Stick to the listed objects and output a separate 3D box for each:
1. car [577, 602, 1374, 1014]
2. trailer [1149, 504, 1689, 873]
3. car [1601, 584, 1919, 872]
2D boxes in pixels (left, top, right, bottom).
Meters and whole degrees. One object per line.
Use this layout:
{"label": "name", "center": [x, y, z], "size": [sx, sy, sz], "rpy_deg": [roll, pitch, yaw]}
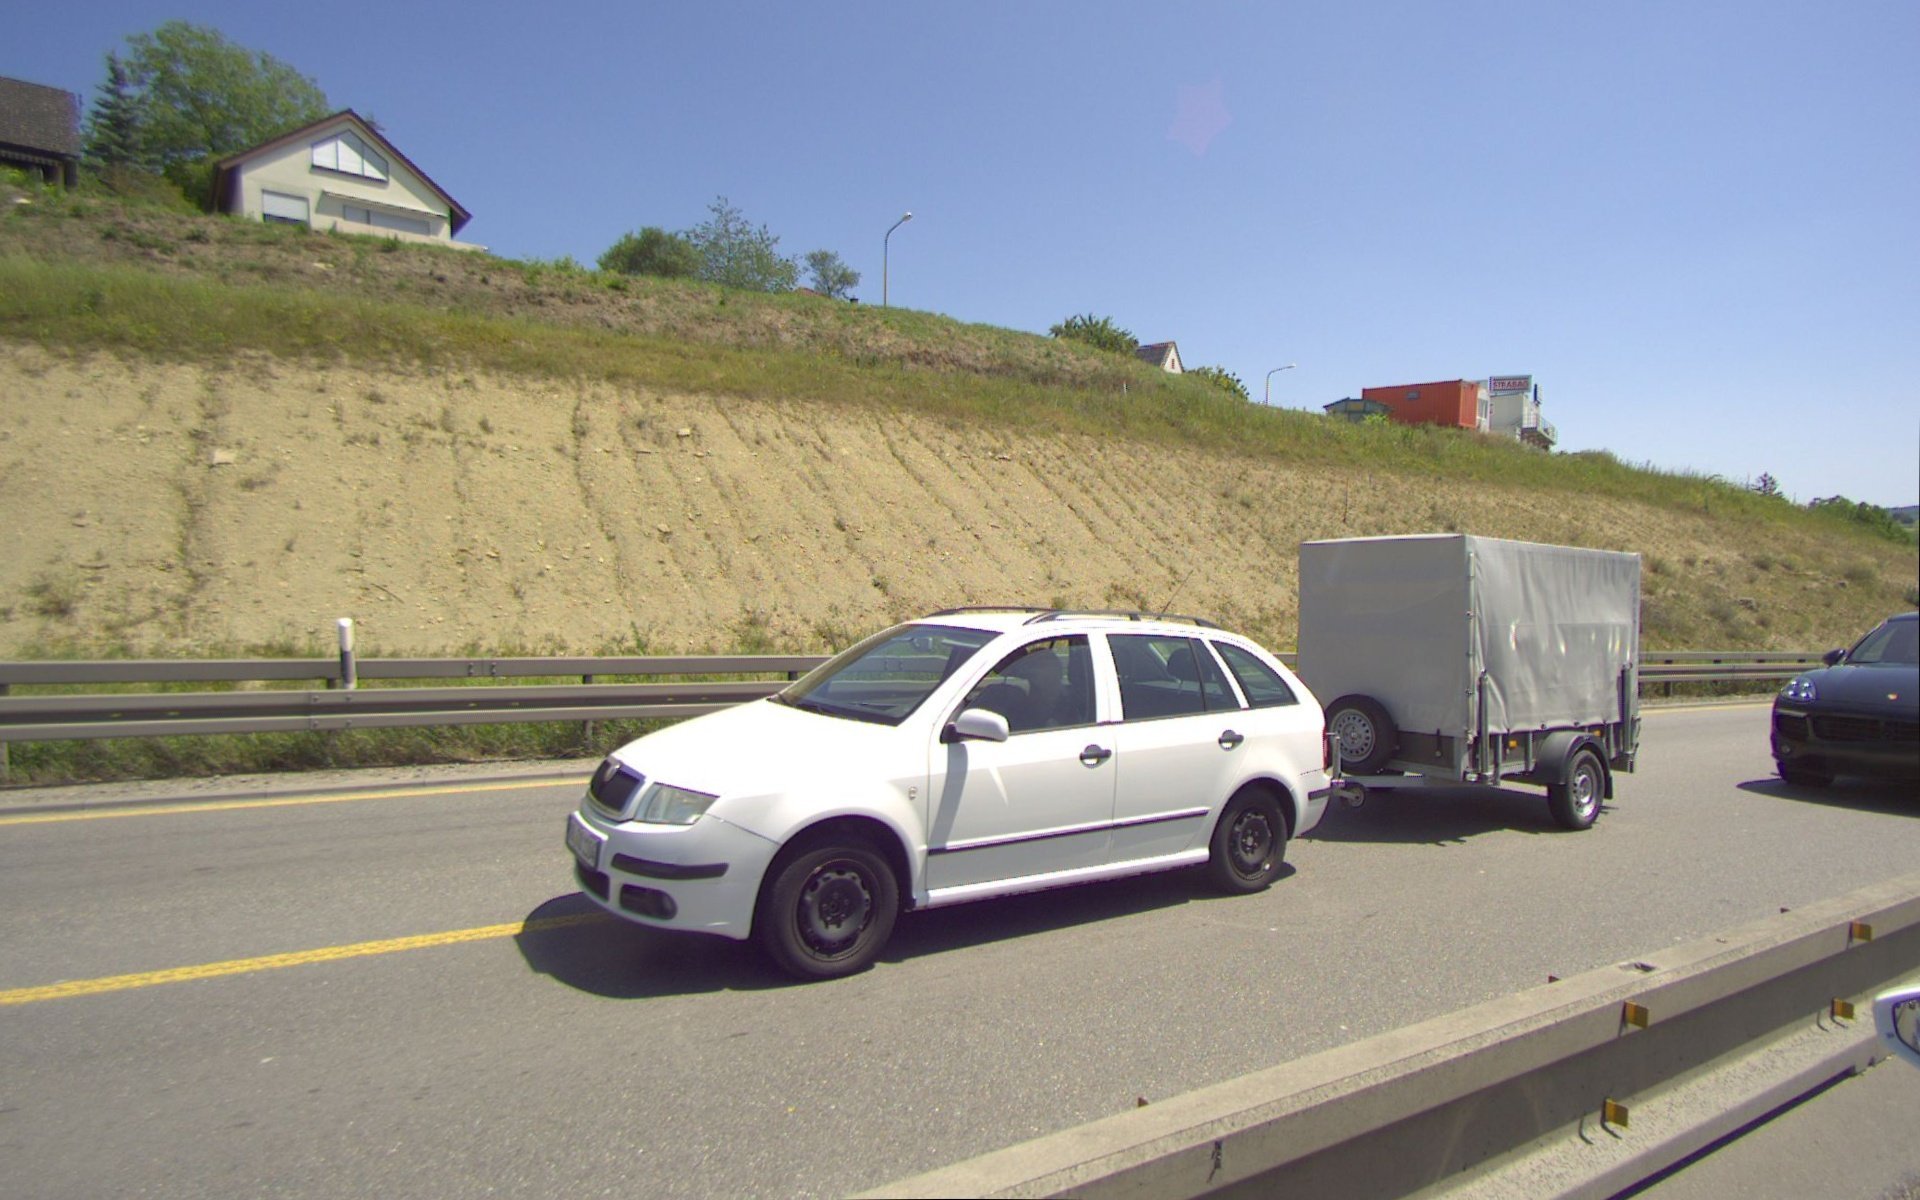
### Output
{"label": "car", "center": [0.240, 0.770, 5.279], "size": [3.957, 1.434, 1.637], "rpy_deg": [1, -1, -33]}
{"label": "trailer", "center": [3.529, 0.539, 7.444], "size": [4.224, 2.052, 1.637], "rpy_deg": [1, -1, -33]}
{"label": "car", "center": [7.291, 0.825, 7.949], "size": [4.507, 1.731, 1.882], "rpy_deg": [2, -1, -30]}
